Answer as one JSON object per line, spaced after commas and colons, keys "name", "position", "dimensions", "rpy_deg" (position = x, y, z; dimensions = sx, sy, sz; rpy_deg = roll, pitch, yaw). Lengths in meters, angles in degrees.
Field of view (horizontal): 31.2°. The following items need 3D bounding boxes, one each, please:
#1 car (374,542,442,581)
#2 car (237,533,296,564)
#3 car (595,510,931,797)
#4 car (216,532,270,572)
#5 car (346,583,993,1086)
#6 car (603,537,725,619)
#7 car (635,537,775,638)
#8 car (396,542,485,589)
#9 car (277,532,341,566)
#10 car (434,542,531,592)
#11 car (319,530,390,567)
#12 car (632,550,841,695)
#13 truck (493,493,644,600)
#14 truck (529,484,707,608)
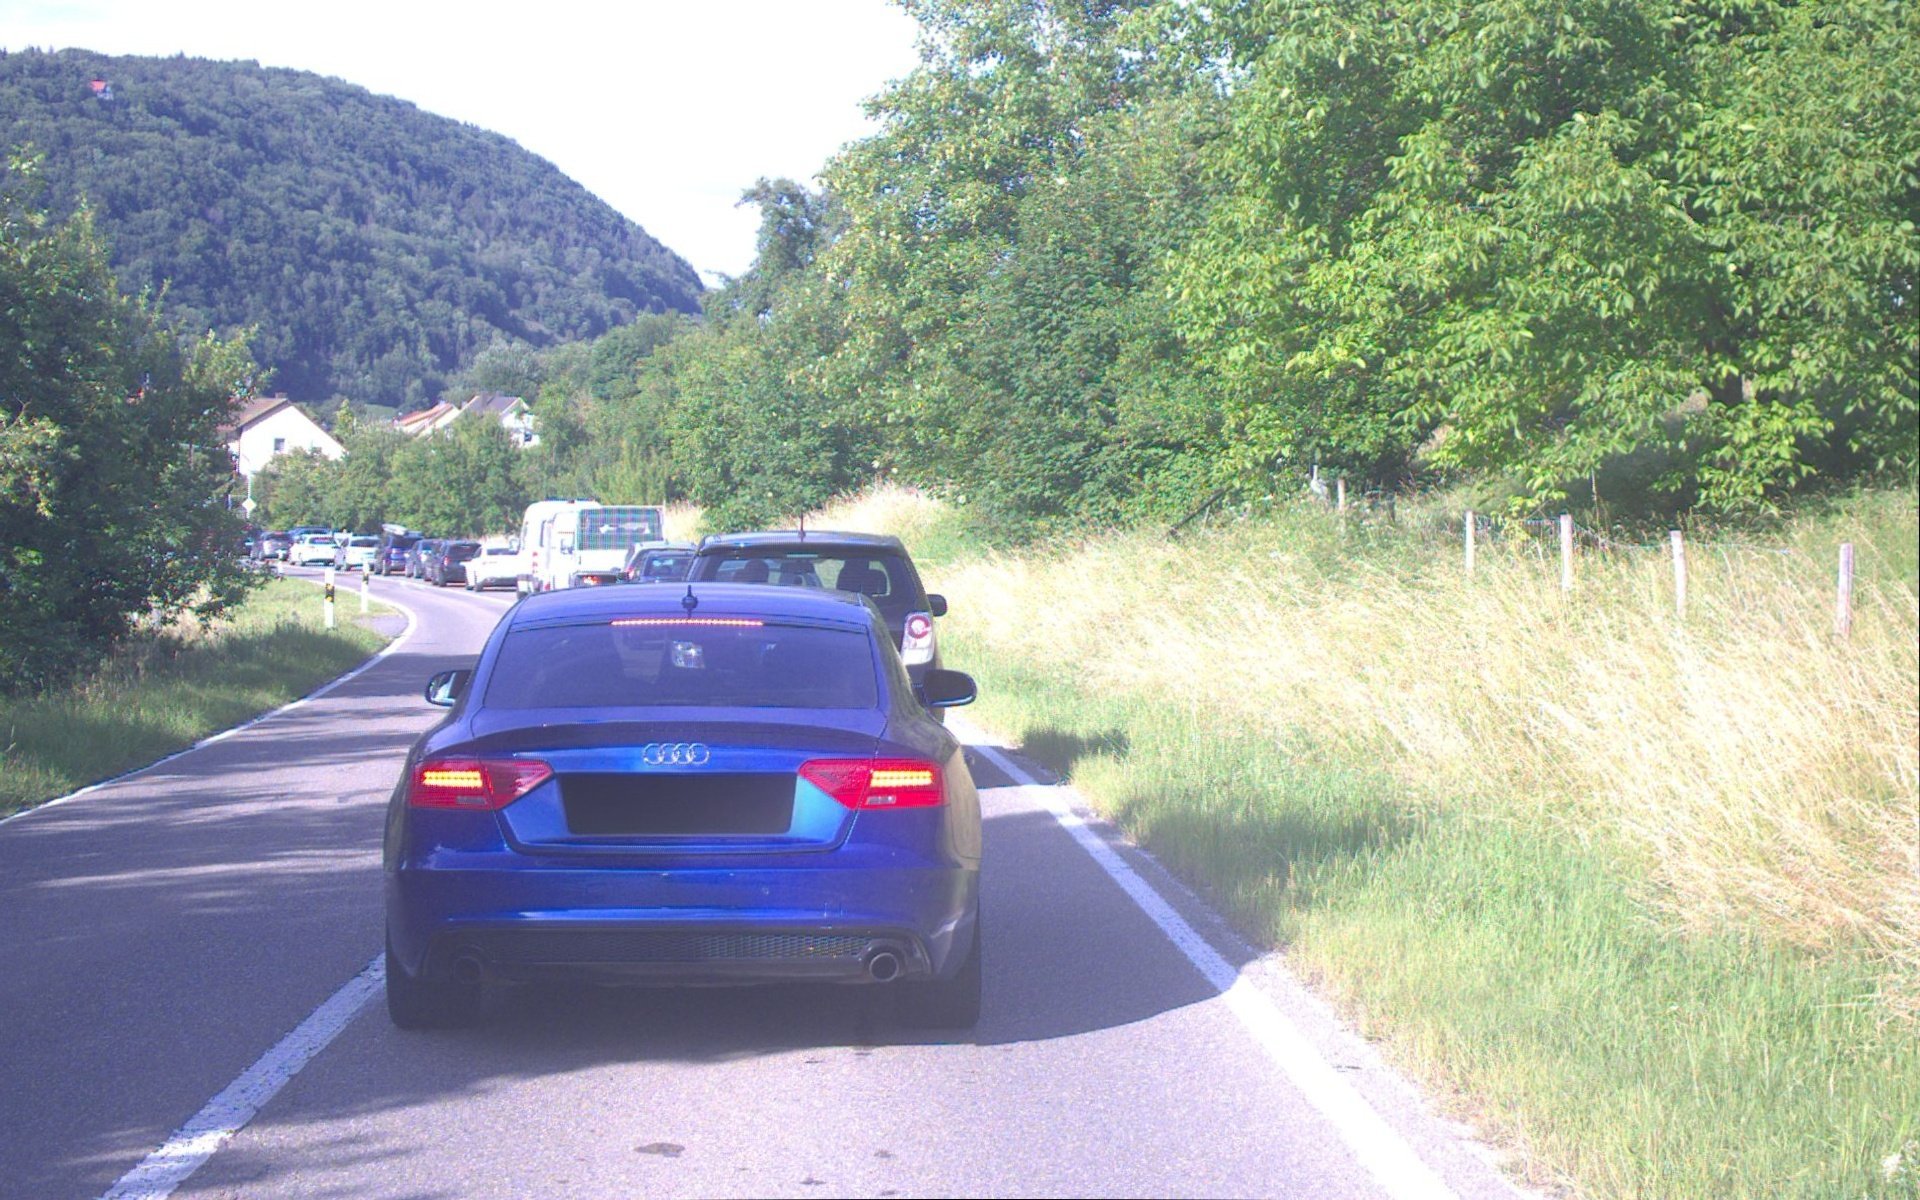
{"name": "car", "position": [-21.419, -1.480, 133.316], "dimensions": [1.993, 1.477, 4.001], "rpy_deg": [1, 0, -18]}
{"name": "car", "position": [-33.999, -2.496, 168.419], "dimensions": [1.993, 1.477, 4.001], "rpy_deg": [1, 0, -24]}
{"name": "car", "position": [-1.244, 0.306, 22.631], "dimensions": [1.993, 1.696, 4.000], "rpy_deg": [1, 0, -2]}
{"name": "car", "position": [-36.866, -2.469, 176.700], "dimensions": [1.993, 2.007, 4.001], "rpy_deg": [1, 0, -23]}
{"name": "car", "position": [-0.835, 0.641, 11.547], "dimensions": [1.793, 1.355, 4.000], "rpy_deg": [0, 1, -1]}
{"name": "car", "position": [-5.619, -0.412, 64.872], "dimensions": [1.993, 1.477, 4.001], "rpy_deg": [1, 0, -9]}
{"name": "car", "position": [-3.986, -0.205, 53.160], "dimensions": [1.993, 1.477, 4.001], "rpy_deg": [1, 0, -6]}
{"name": "car", "position": [-16.978, -1.122, 112.208], "dimensions": [1.993, 1.477, 4.001], "rpy_deg": [1, 0, -22]}
{"name": "car", "position": [-29.652, -2.325, 156.469], "dimensions": [1.993, 1.477, 4.001], "rpy_deg": [1, 0, -24]}
{"name": "car", "position": [-14.605, -1.022, 104.939], "dimensions": [1.993, 1.477, 4.001], "rpy_deg": [1, 0, -22]}
{"name": "car", "position": [-25.377, -2.156, 143.979], "dimensions": [1.993, 1.477, 4.001], "rpy_deg": [1, 0, -24]}
{"name": "car", "position": [-2.240, 0.205, 35.416], "dimensions": [1.993, 1.382, 4.000], "rpy_deg": [1, 0, -2]}
{"name": "truck", "position": [-10.519, -1.432, 91.418], "dimensions": [2.863, 2.656, 10.648], "rpy_deg": [1, 1, -12]}
{"name": "truck", "position": [-8.048, -1.245, 79.705], "dimensions": [2.863, 2.656, 10.396], "rpy_deg": [1, 1, -12]}
